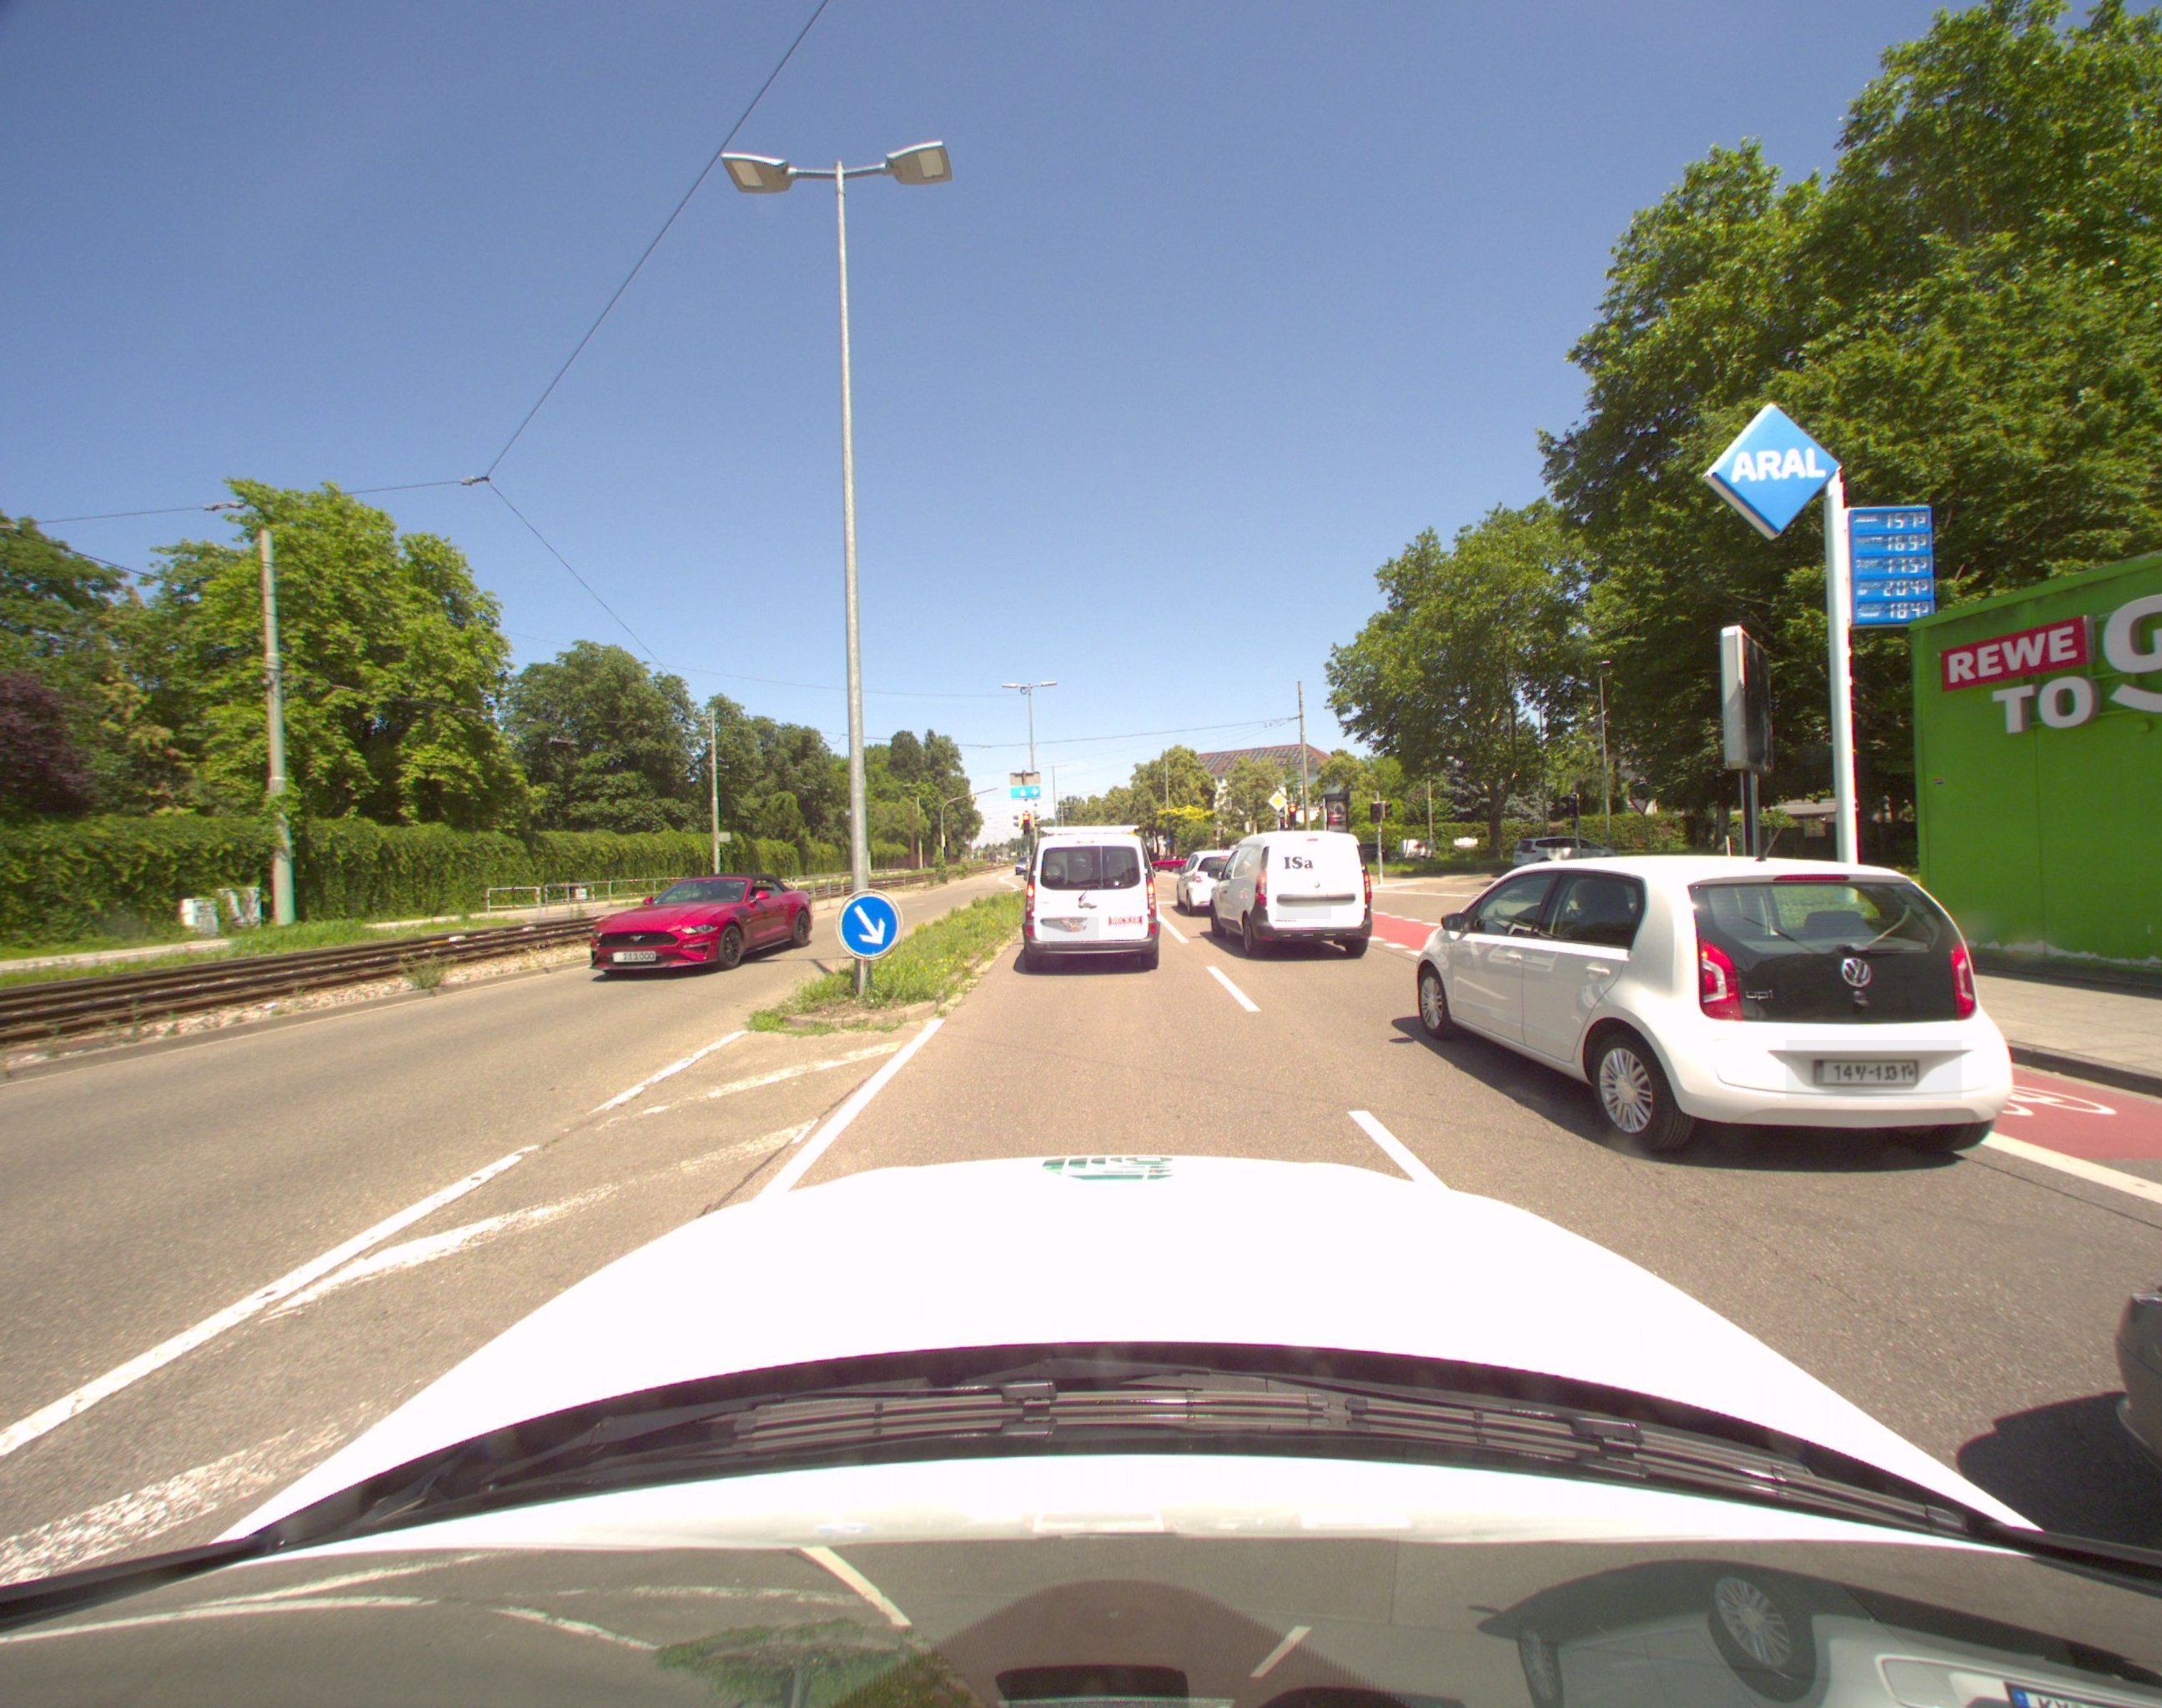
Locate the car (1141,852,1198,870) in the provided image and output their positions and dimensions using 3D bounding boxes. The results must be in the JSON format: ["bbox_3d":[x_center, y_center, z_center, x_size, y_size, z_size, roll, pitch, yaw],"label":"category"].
[{"bbox_3d":[6.665,0.559,61.514,1.873,1.222,3.951,-2,0,-44],"label":"car"}]

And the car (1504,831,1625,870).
[{"bbox_3d":[22.469,-0.157,37.979,4.420,1.617,2.003,-2,0,5],"label":"car"}]

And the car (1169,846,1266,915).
[{"bbox_3d":[3.298,0.598,20.371,1.750,1.486,4.000,-2,0,0],"label":"car"}]

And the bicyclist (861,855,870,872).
[{"bbox_3d":[-19.048,0.873,71.984,0.556,1.478,0.561,-2,0,1],"label":"bicyclist"}]

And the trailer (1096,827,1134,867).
[{"bbox_3d":[3.672,-0.714,89.922,3.517,4.050,8.973,-2,0,-1],"label":"trailer"}]

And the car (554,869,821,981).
[{"bbox_3d":[-6.023,0.996,13.222,1.976,1.358,4.540,-2,0,2],"label":"car"}]

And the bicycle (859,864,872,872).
[{"bbox_3d":[-19.034,1.200,71.945,0.559,0.647,1.720,-2,0,1],"label":"bicycle"}]

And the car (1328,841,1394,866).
[{"bbox_3d":[19.056,-0.042,55.594,3.964,1.508,2.005,-2,0,8],"label":"car"}]

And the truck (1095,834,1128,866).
[{"bbox_3d":[3.613,-0.464,98.784,3.565,3.632,8.805,-2,0,-1],"label":"truck"}]

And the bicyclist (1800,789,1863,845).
[{"bbox_3d":[24.145,-1.188,26.214,0.957,1.739,1.124,-2,0,-19],"label":"bicyclist"}]

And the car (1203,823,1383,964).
[{"bbox_3d":[3.137,0.526,12.890,1.705,1.830,4.011,-2,0,-1],"label":"car"}]

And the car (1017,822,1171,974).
[{"bbox_3d":[0.164,0.538,11.961,1.861,1.836,3.848,-1,0,0],"label":"car"}]

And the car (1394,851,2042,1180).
[{"bbox_3d":[3.508,0.718,5.387,1.601,1.451,3.522,-1,0,2],"label":"car"}]

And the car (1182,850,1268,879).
[{"bbox_3d":[7.247,0.538,41.100,3.951,1.379,1.554,-2,0,31],"label":"car"}]

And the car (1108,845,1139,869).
[{"bbox_3d":[3.773,0.269,73.655,1.993,2.013,3.988,-2,0,-9],"label":"car"}]
